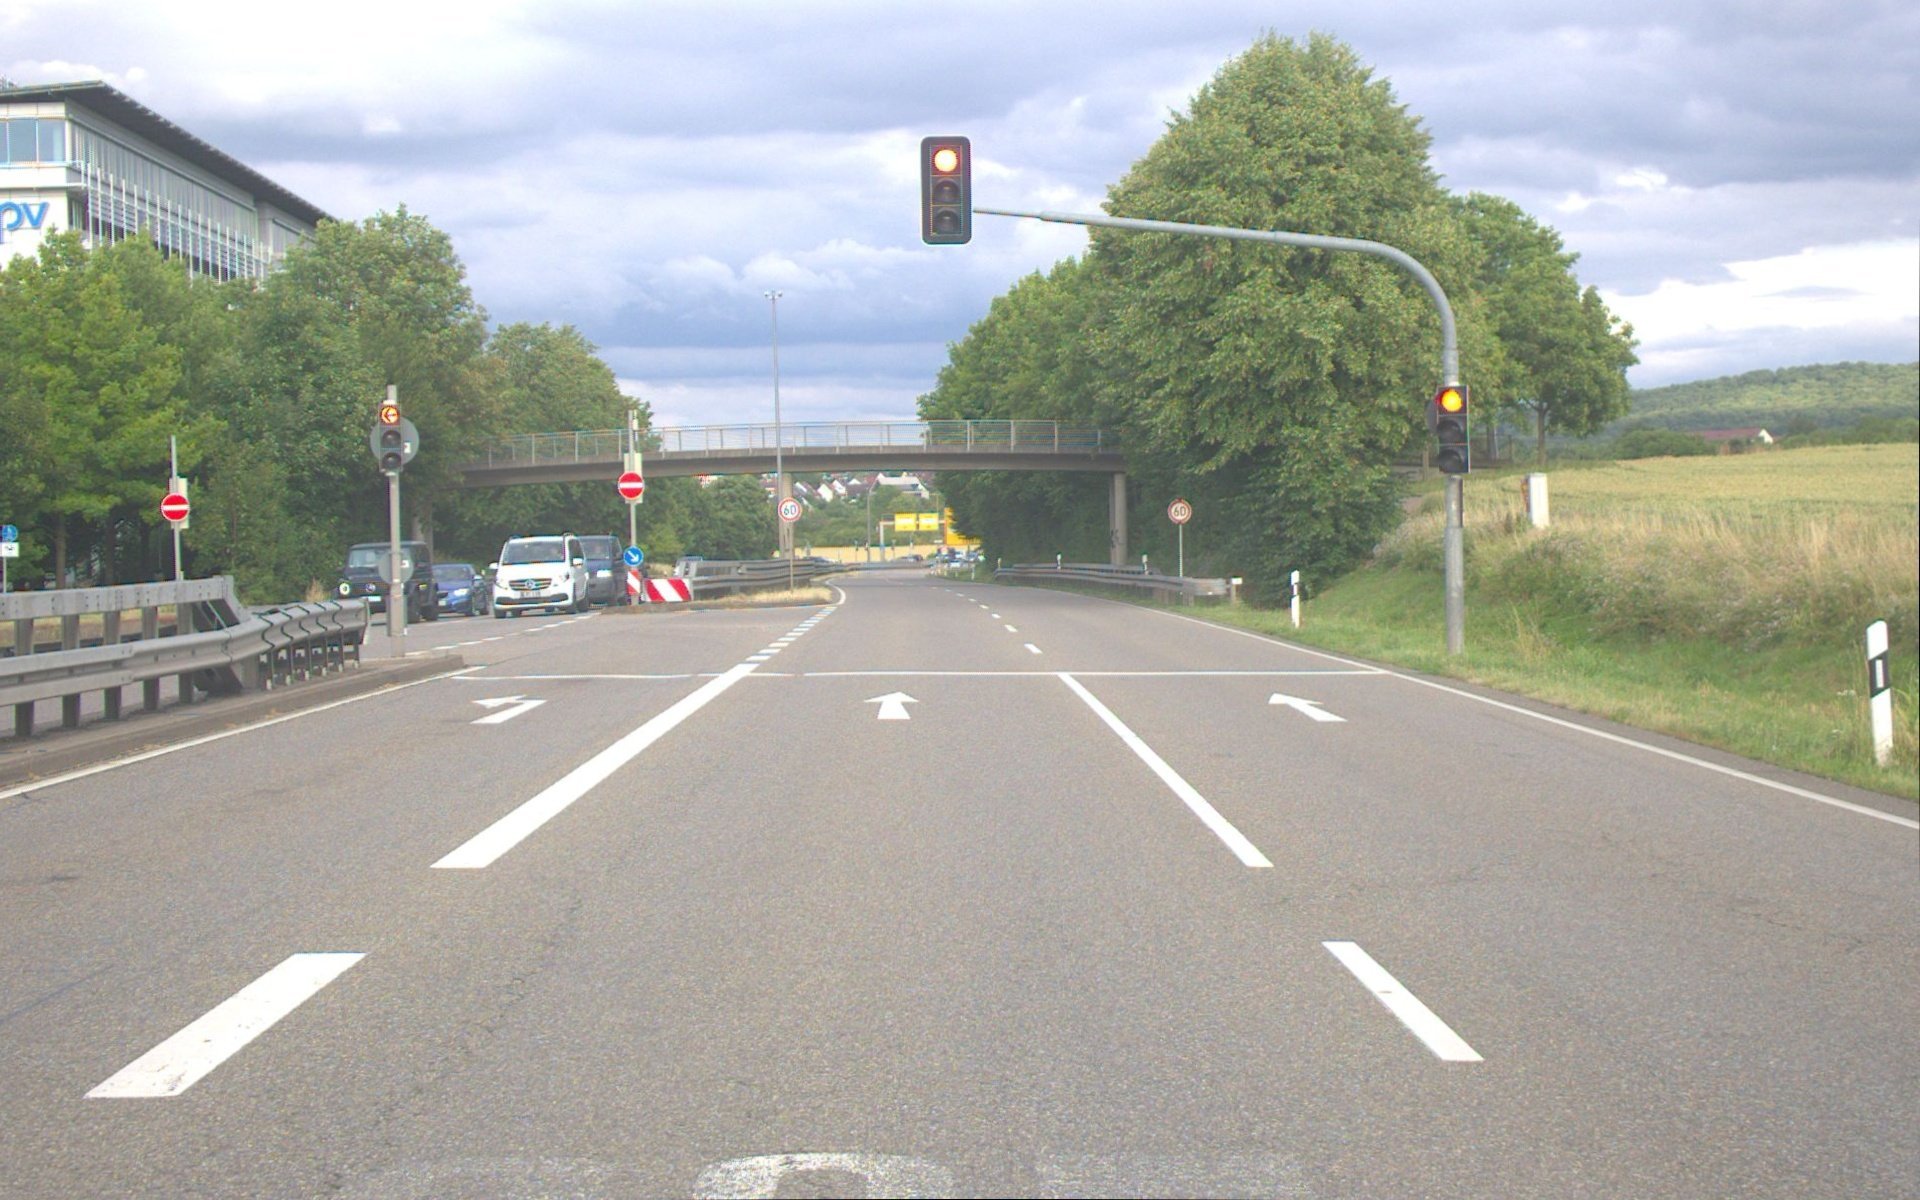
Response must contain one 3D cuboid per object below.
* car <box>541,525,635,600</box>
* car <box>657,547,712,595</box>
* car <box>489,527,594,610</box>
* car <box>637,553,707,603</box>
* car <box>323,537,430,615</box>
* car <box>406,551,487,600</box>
[{"bbox_3d":[-9.804,-1.022,90.899,1.993,1.867,4.737,-1,2,0],"label":"car"},{"bbox_3d":[-7.367,-0.789,92.144,1.312,1.225,2.922,-1,2,-2],"label":"car"},{"bbox_3d":[-9.985,-0.780,82.314,1.948,1.867,4.737,-1,2,0],"label":"car"},{"bbox_3d":[-6.698,-0.524,80.249,1.358,1.088,2.922,-1,2,0],"label":"car"},{"bbox_3d":[-13.894,-0.593,82.109,1.868,1.748,4.049,-1,2,0],"label":"car"},{"bbox_3d":[-13.335,-0.655,89.386,1.613,1.174,3.457,-1,2,0],"label":"car"}]
